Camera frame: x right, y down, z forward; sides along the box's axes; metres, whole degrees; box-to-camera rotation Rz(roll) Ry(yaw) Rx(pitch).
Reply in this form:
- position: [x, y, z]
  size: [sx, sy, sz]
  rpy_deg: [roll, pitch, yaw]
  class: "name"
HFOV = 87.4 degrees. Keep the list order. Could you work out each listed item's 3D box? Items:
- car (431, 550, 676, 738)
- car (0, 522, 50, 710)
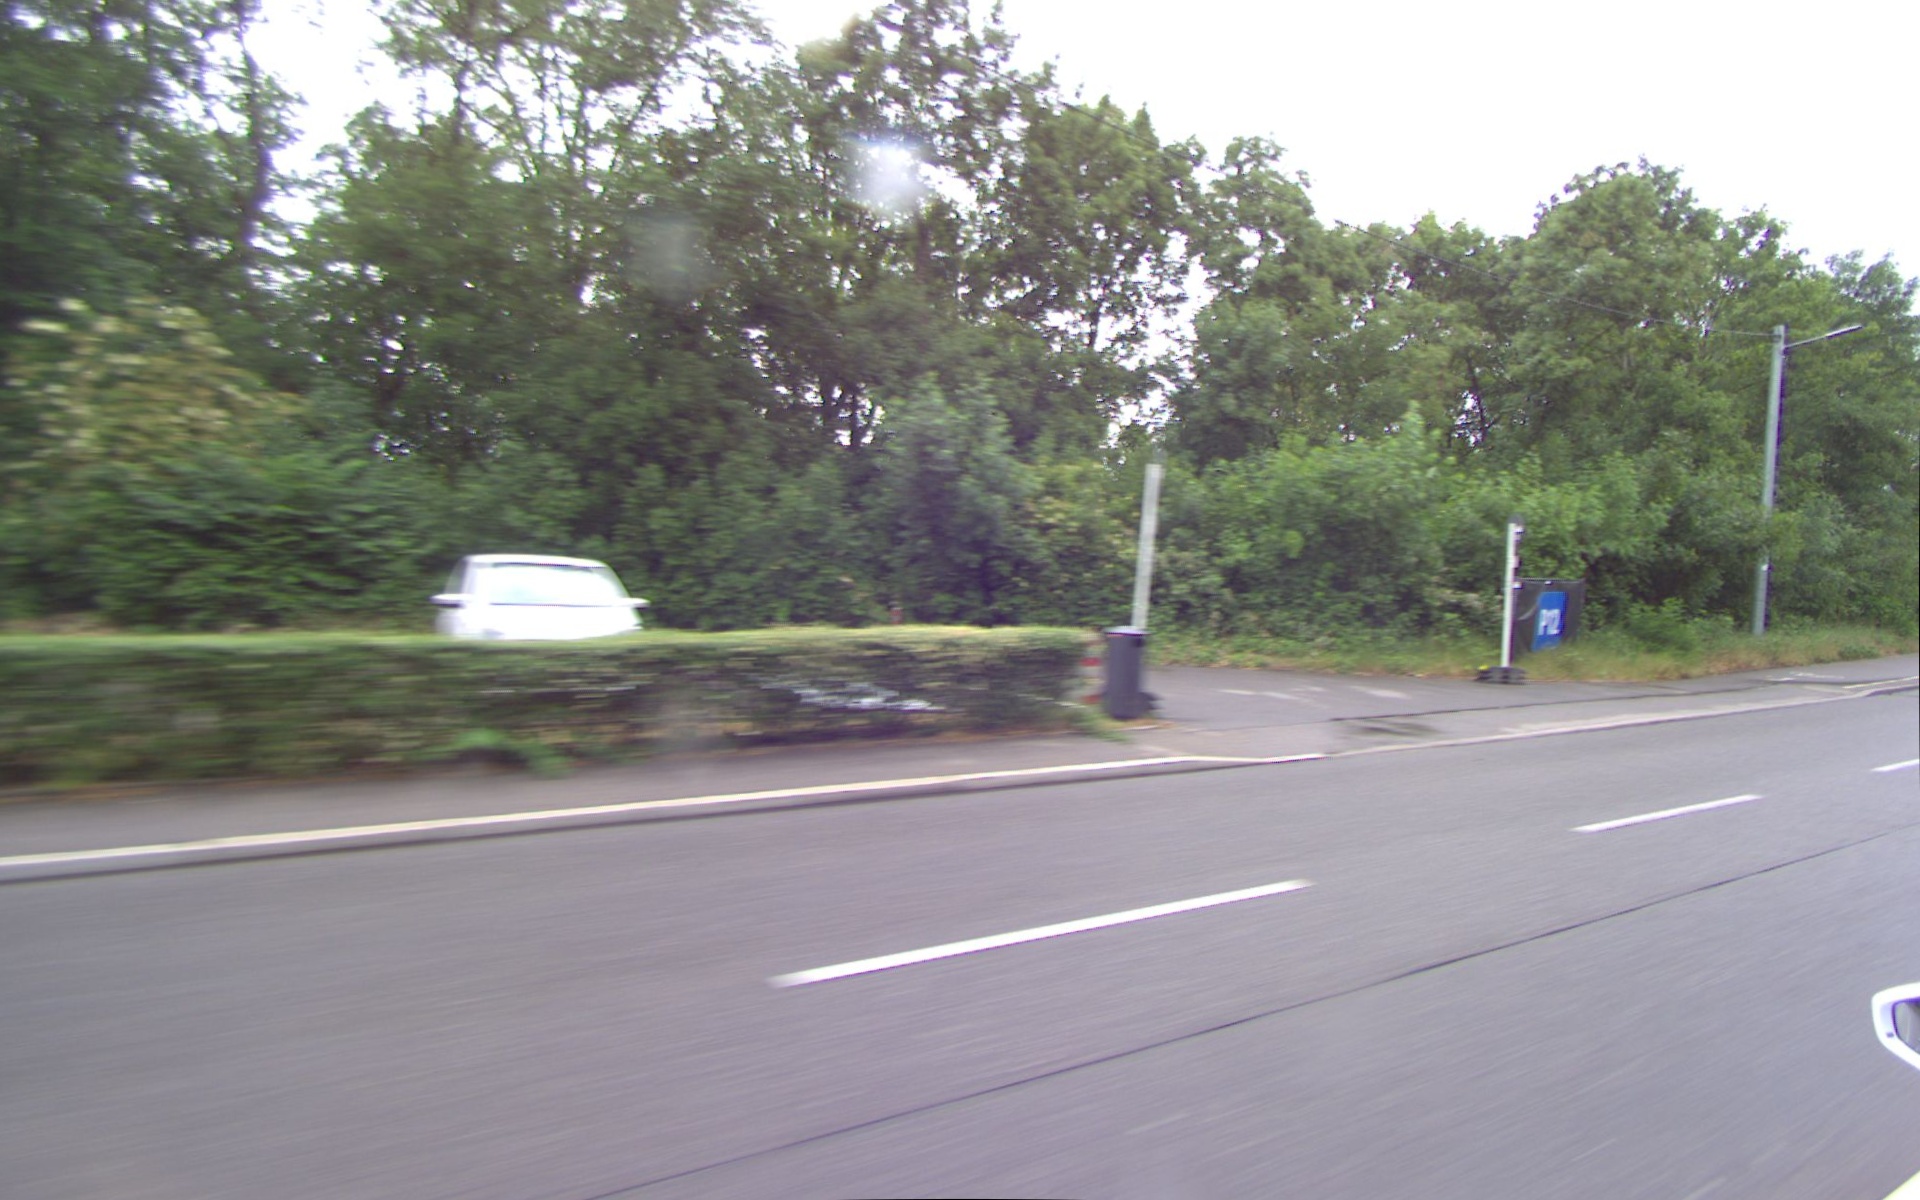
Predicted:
- position: [-4.439, 0.344, 10.639]
  size: [1.831, 1.612, 3.625]
  rpy_deg: [1, 1, -31]
  class: "car"
- position: [-9.296, 0.158, 7.877]
  size: [1.973, 1.731, 4.278]
  rpy_deg: [1, 1, -25]
  class: "car"
